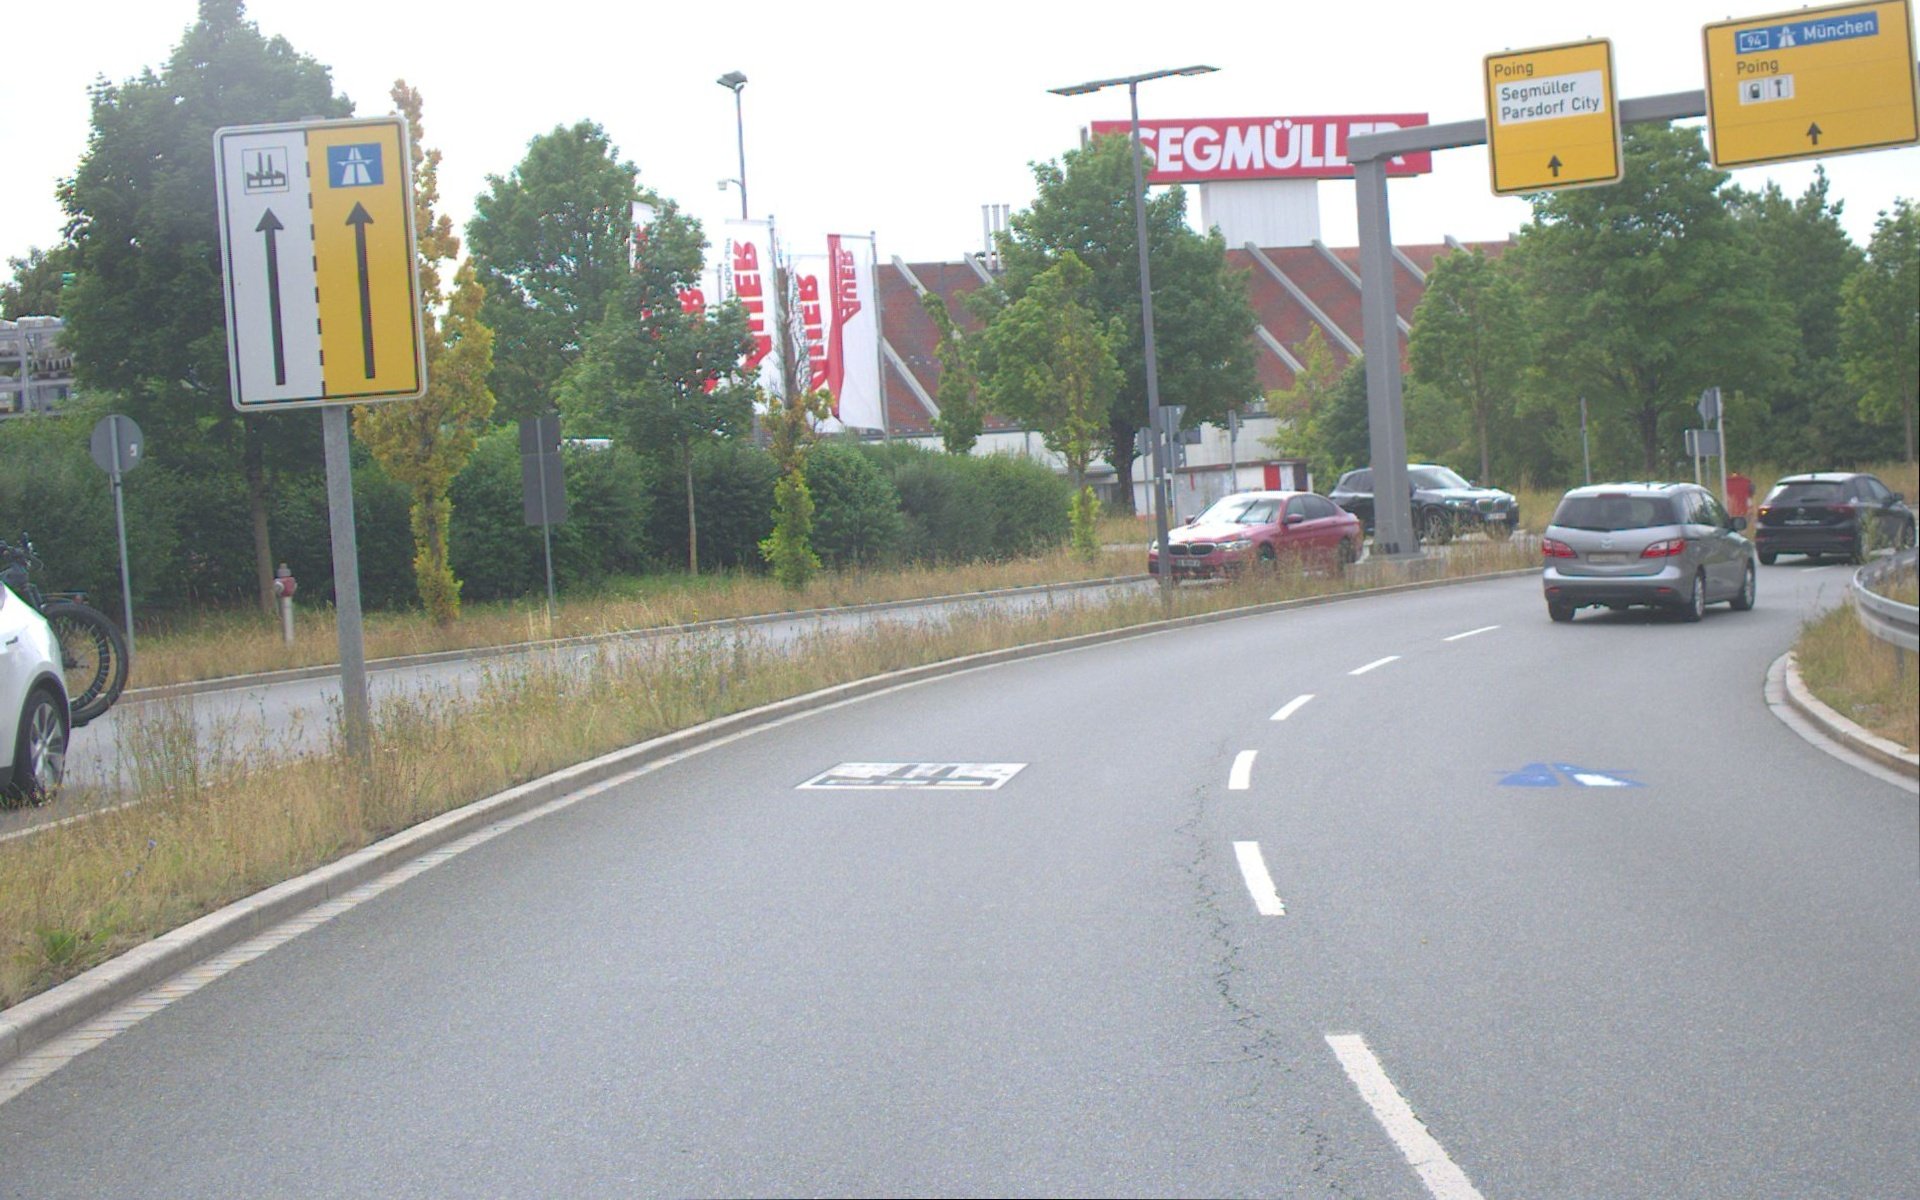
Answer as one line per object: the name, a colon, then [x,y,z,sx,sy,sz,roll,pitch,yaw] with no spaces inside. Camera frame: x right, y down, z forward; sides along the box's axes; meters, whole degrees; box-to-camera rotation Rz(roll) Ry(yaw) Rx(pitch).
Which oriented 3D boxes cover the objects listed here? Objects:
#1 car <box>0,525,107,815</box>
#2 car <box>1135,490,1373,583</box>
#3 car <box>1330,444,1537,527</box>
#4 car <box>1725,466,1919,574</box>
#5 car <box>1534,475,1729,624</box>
car: [-6.429,0.423,18.947,1.909,1.620,4.637,0,2,6]
car: [4.828,-1.060,55.799,1.794,1.442,4.963,1,2,32]
car: [9.826,-2.367,71.604,1.868,1.544,4.255,-4,2,-33]
car: [13.897,-1.296,55.152,1.872,1.600,3.728,-2,1,34]
car: [8.015,-0.610,40.780,1.769,1.611,3.918,-2,1,18]
